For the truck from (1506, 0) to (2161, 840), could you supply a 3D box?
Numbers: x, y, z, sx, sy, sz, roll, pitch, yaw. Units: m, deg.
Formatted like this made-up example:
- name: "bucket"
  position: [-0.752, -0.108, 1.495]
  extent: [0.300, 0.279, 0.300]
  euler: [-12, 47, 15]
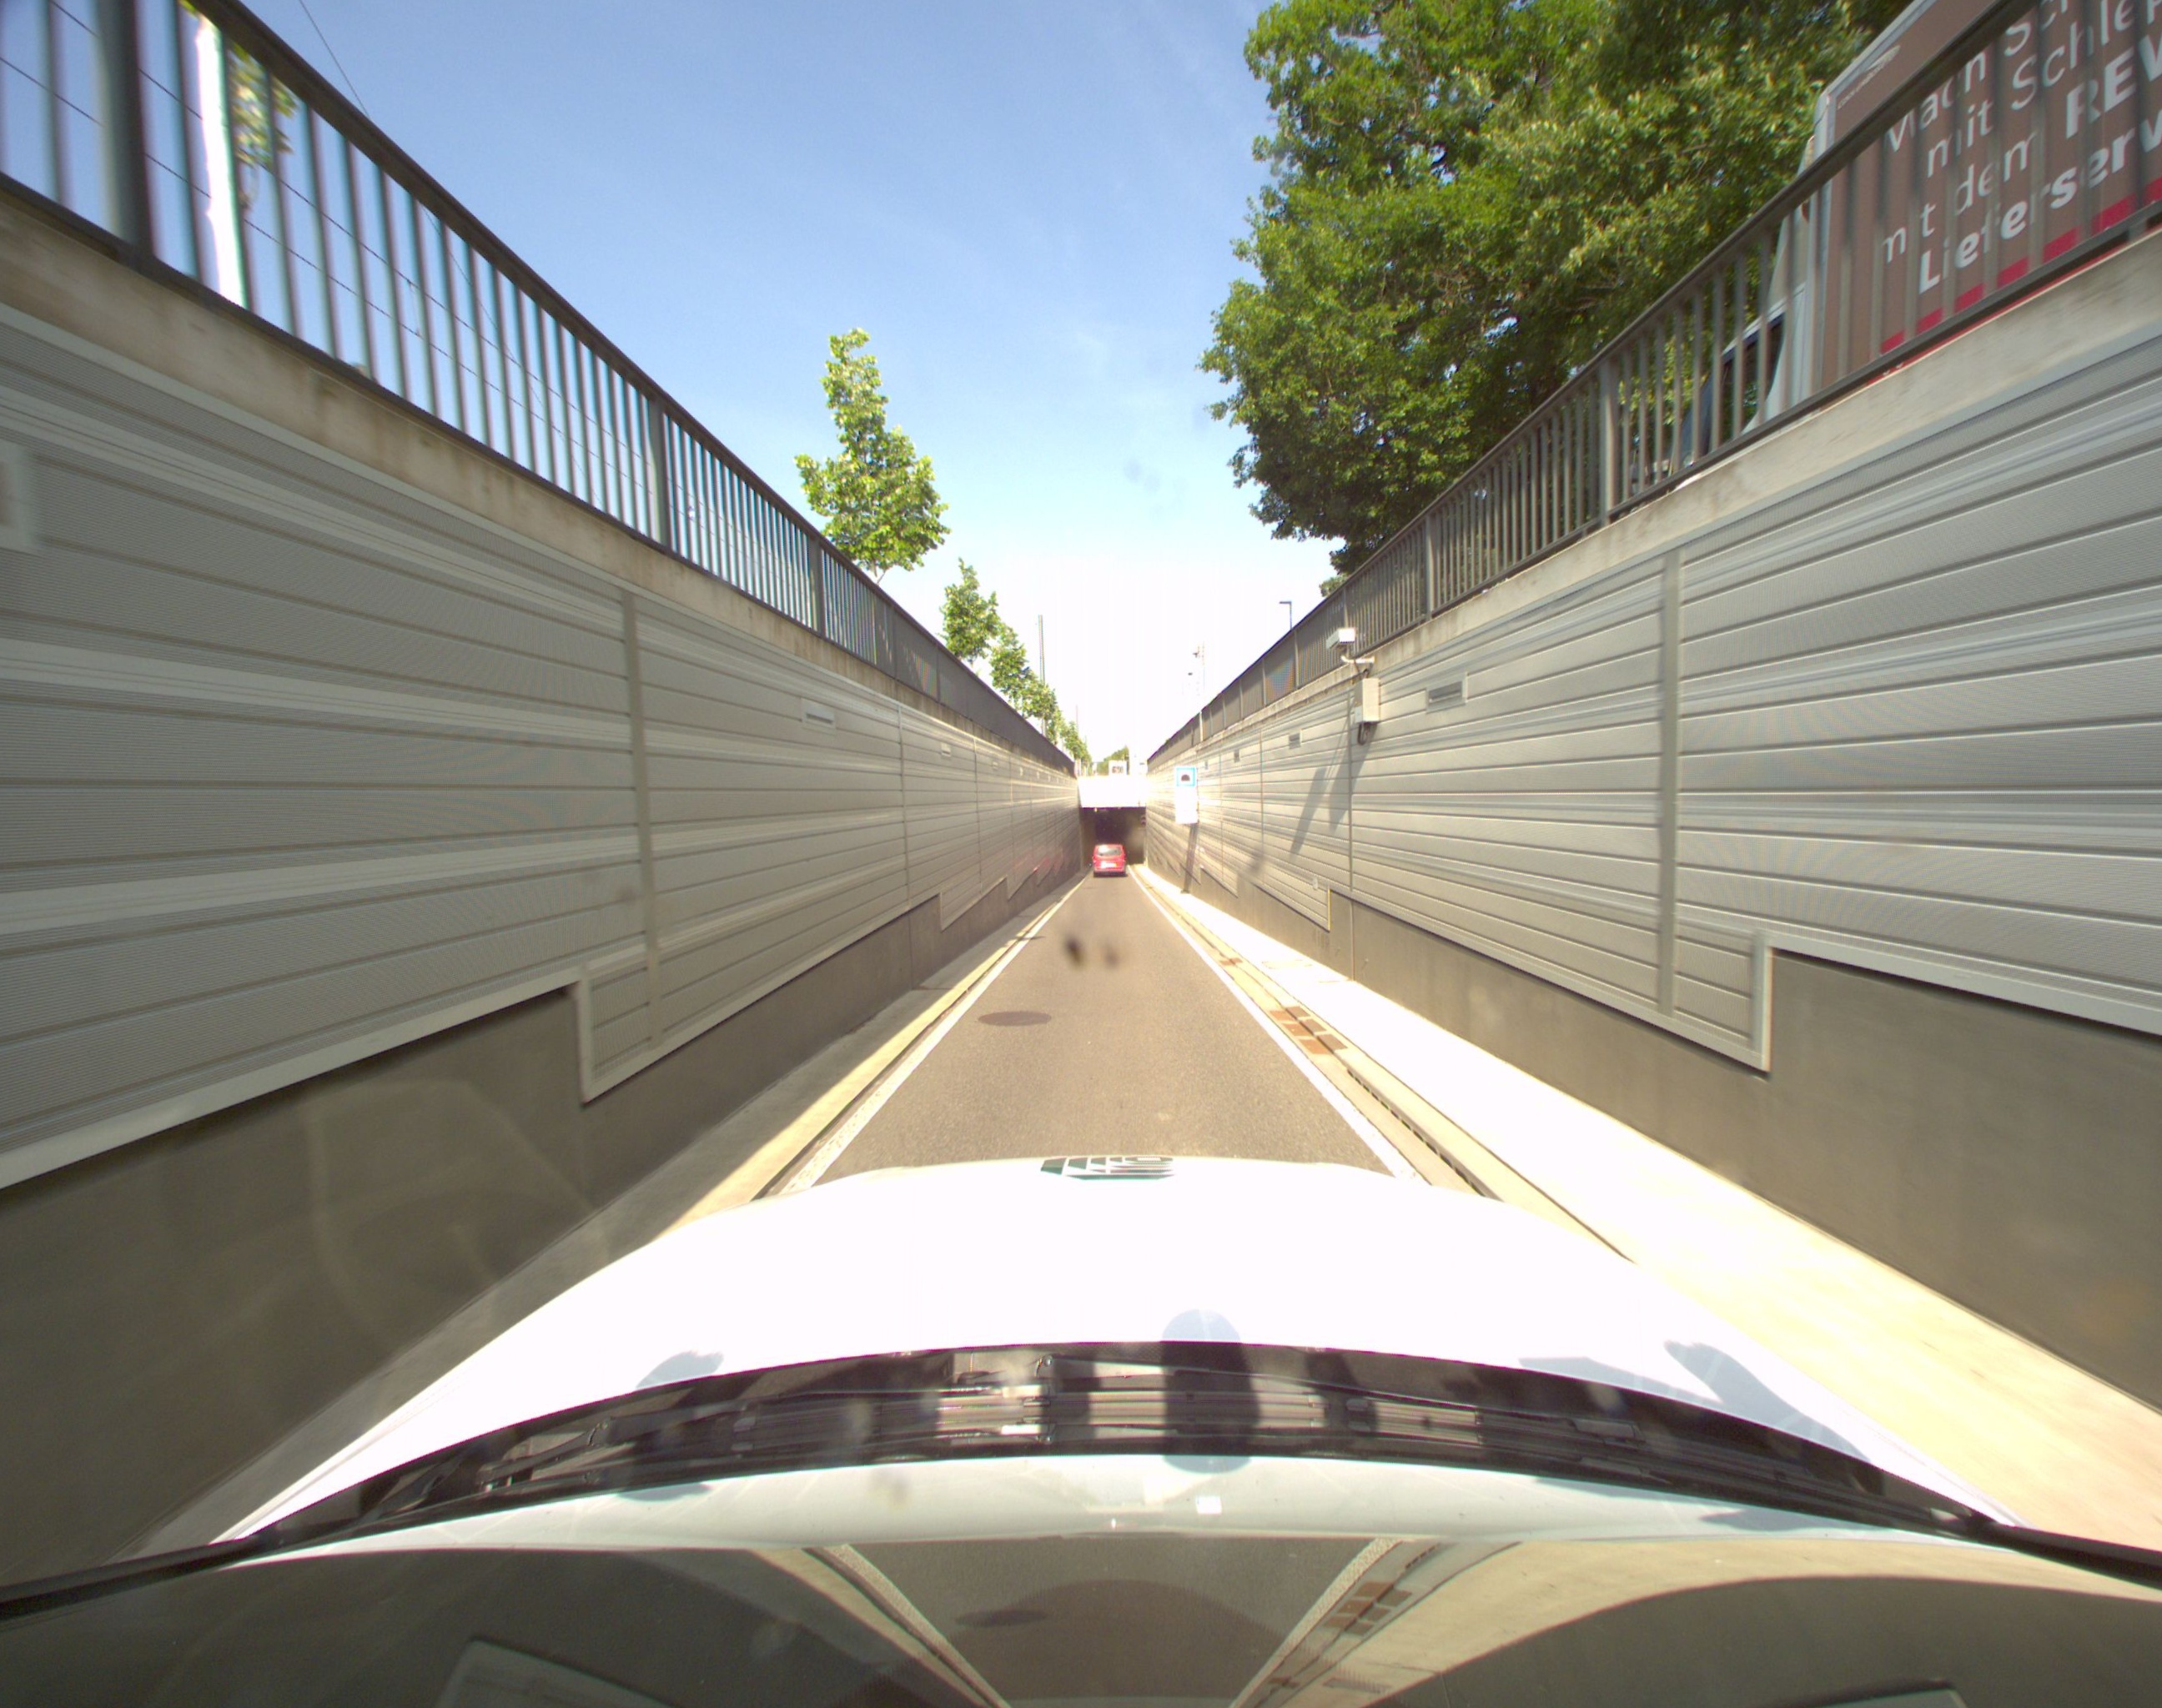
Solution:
- name: "truck"
  position: [5.213, -1.686, 3.812]
  extent: [2.492, 3.060, 7.824]
  euler: [-3, 0, 2]

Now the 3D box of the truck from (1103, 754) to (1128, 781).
- name: "truck"
  position: [5.305, -13.452, 127.848]
  extent: [3.379, 3.724, 10.456]
  euler: [-2, 4, 1]

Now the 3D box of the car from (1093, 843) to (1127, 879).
- name: "car"
  position: [1.701, 0.357, 47.423]
  extent: [1.894, 1.859, 4.003]
  euler: [0, 2, 2]
